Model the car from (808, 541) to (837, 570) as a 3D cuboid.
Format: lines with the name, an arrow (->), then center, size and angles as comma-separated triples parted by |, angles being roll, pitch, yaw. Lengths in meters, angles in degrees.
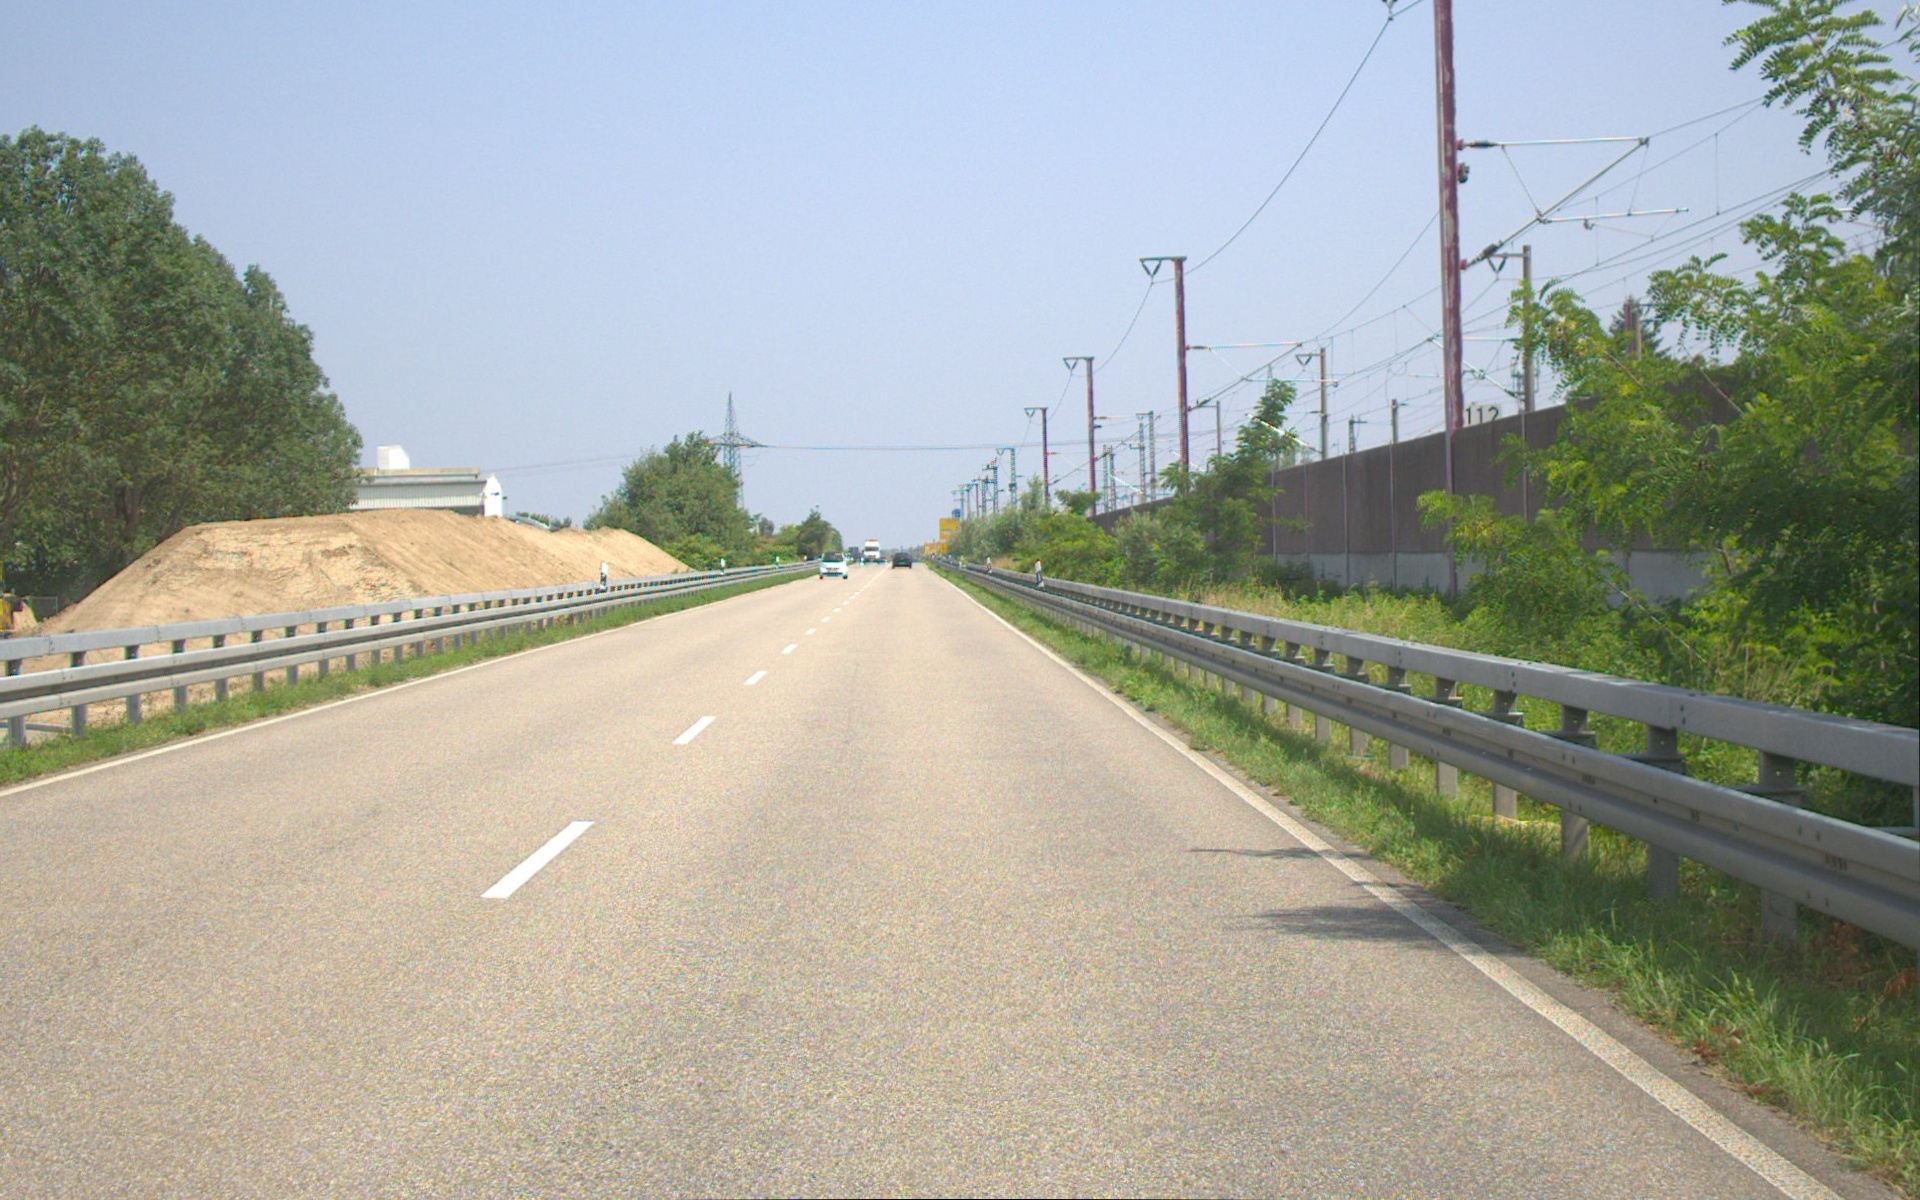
car -> -7.721, -2.522, 193.194 | 1.595, 1.571, 3.828 | 0, 1, -1
